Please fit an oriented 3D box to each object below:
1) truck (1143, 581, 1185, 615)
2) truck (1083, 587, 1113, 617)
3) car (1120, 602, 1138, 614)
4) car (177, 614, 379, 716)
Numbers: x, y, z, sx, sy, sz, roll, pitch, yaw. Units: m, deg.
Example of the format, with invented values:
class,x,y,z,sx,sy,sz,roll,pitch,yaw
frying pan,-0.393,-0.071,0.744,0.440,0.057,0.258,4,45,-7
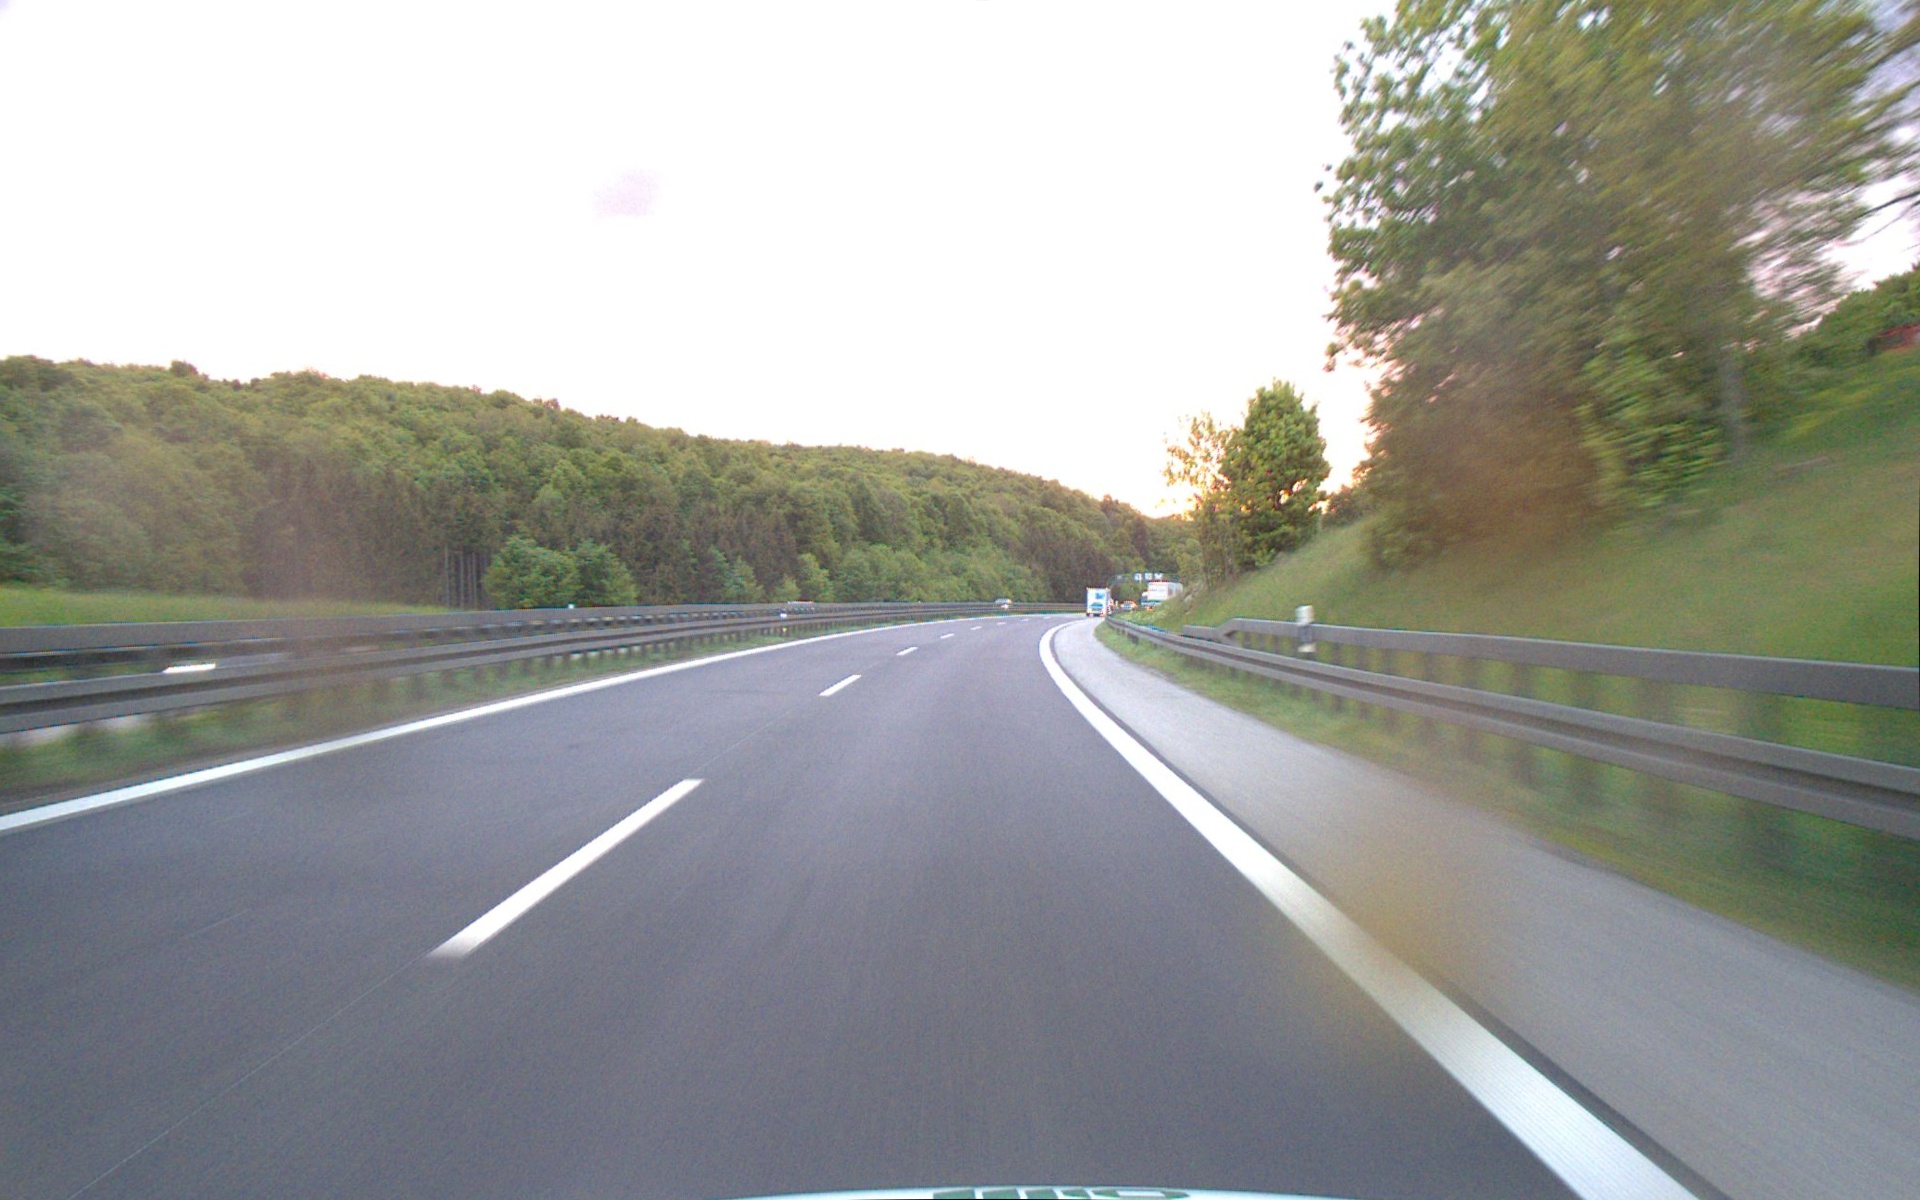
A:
class,x,y,z,sx,sy,sz,roll,pitch,yaw
truck,26.991,-0.294,218.042,3.873,4.362,14.335,-1,0,13
truck,13.209,0.171,158.395,2.227,2.711,5.241,-1,1,11
car,21.963,0.994,215.134,1.951,1.544,4.004,0,0,11
car,-11.327,1.032,27.767,1.698,1.445,4.000,3,0,0
